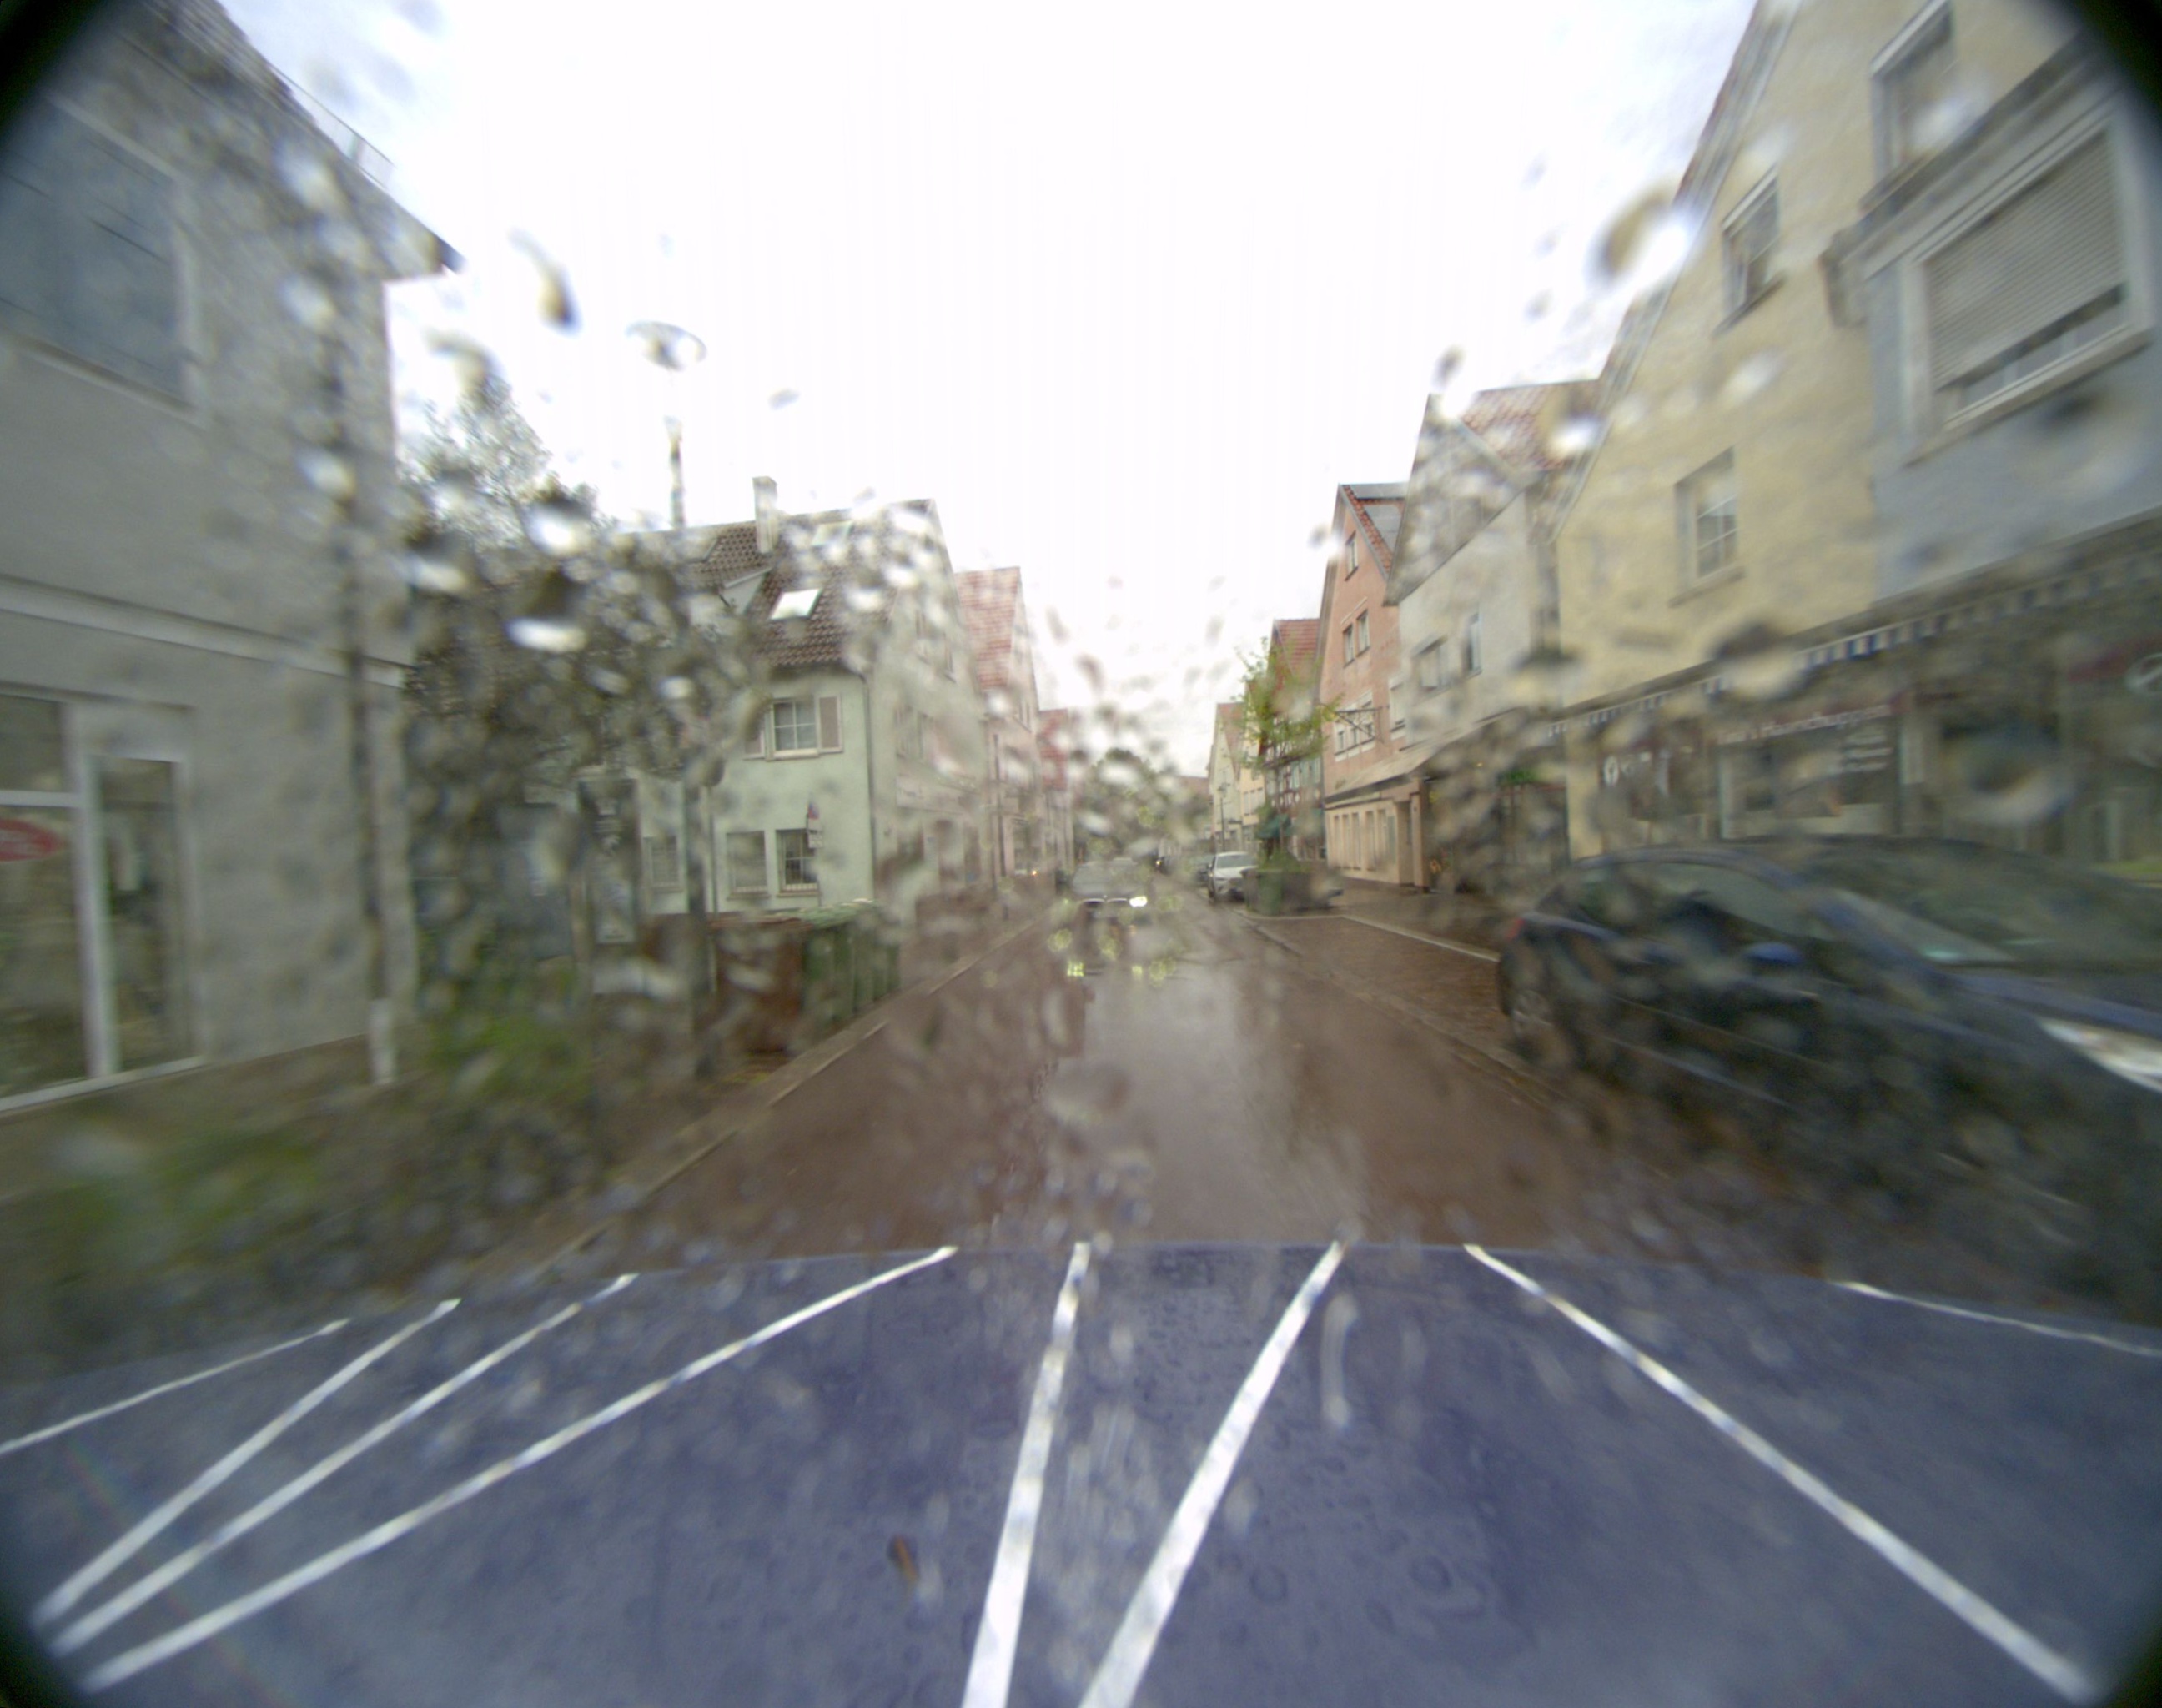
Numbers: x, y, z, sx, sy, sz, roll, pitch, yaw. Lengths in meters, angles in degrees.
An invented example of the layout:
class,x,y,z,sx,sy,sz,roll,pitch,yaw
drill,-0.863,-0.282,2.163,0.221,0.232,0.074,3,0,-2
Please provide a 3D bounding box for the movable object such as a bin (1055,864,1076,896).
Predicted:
class,x,y,z,sx,sy,sz,roll,pitch,yaw
movable object such as a bin,-0.611,1.010,30.000,0.720,1.194,0.578,-2,2,6

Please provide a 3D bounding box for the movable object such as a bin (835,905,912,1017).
class,x,y,z,sx,sy,sz,roll,pitch,yaw
movable object such as a bin,-2.465,1.256,9.066,0.659,1.231,0.621,-2,2,4

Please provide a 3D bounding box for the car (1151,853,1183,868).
class,x,y,z,sx,sy,sz,roll,pitch,yaw
car,9.663,0.725,84.836,1.995,1.445,4.007,-2,1,31

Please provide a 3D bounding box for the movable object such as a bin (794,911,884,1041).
class,x,y,z,sx,sy,sz,roll,pitch,yaw
movable object such as a bin,-2.509,1.254,7.924,0.679,1.249,0.543,-2,2,4

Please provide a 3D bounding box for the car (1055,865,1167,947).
class,x,y,z,sx,sy,sz,roll,pitch,yaw
car,0.531,0.989,16.435,1.999,1.398,4.893,-2,0,-1

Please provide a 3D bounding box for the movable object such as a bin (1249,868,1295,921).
class,x,y,z,sx,sy,sz,roll,pitch,yaw
movable object such as a bin,4.450,0.932,17.705,0.817,1.100,0.610,-6,2,0

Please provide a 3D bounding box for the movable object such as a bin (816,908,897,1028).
class,x,y,z,sx,sy,sz,roll,pitch,yaw
movable object such as a bin,-2.496,1.255,8.480,0.659,1.238,0.543,-2,2,4

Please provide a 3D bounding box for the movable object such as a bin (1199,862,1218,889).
class,x,y,z,sx,sy,sz,roll,pitch,yaw
movable object such as a bin,5.379,0.895,32.057,0.749,1.076,0.764,-2,2,7

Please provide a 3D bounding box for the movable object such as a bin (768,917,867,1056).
class,x,y,z,sx,sy,sz,roll,pitch,yaw
movable object such as a bin,-2.537,1.261,7.360,0.679,1.225,0.565,-2,2,4

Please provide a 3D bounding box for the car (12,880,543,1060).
class,x,y,z,sx,sy,sz,roll,pitch,yaw
car,-9.760,1.234,9.770,1.819,1.645,4.369,-1,0,45

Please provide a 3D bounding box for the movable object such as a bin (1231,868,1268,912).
class,x,y,z,sx,sy,sz,roll,pitch,yaw
movable object such as a bin,4.498,0.958,20.279,0.817,1.100,0.610,-2,2,0

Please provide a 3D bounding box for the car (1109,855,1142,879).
class,x,y,z,sx,sy,sz,roll,pitch,yaw
car,3.101,0.875,52.125,1.998,1.445,4.001,-2,1,6

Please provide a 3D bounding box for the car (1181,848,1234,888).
class,x,y,z,sx,sy,sz,roll,pitch,yaw
car,5.887,0.601,35.936,1.838,1.543,4.281,-6,1,3

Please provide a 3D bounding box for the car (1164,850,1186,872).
class,x,y,z,sx,sy,sz,roll,pitch,yaw
car,7.482,0.546,60.560,1.596,1.537,3.978,-2,1,6

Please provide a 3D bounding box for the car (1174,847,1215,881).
class,x,y,z,sx,sy,sz,roll,pitch,yaw
car,6.257,0.500,42.378,1.837,1.665,4.540,-2,1,4

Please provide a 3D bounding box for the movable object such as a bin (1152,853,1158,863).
class,x,y,z,sx,sy,sz,roll,pitch,yaw
movable object such as a bin,8.912,0.522,91.291,0.544,1.143,0.586,-1,2,31

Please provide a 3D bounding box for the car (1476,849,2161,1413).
class,x,y,z,sx,sy,sz,roll,pitch,yaw
car,3.934,0.766,3.526,1.999,1.463,3.999,-3,0,-1

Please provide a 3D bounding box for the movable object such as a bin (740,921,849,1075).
class,x,y,z,sx,sy,sz,roll,pitch,yaw
movable object such as a bin,-2.539,1.258,6.783,0.679,1.243,0.565,-2,2,4

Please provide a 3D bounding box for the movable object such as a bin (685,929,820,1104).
class,x,y,z,sx,sy,sz,roll,pitch,yaw
movable object such as a bin,-2.621,1.274,6.133,0.679,1.234,0.731,-2,2,4

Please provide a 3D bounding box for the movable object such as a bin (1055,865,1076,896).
class,x,y,z,sx,sy,sz,roll,pitch,yaw
movable object such as a bin,-0.627,1.059,30.730,0.720,1.194,0.573,-2,2,6

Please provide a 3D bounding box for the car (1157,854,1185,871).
class,x,y,z,sx,sy,sz,roll,pitch,yaw
car,7.795,0.744,66.046,1.806,1.424,4.628,-2,-1,0

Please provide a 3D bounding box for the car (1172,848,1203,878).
class,x,y,z,sx,sy,sz,roll,pitch,yaw
car,6.847,0.561,49.223,1.775,1.665,4.480,-4,1,6

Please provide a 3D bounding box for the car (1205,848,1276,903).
class,x,y,z,sx,sy,sz,roll,pitch,yaw
car,5.182,0.654,25.176,1.831,1.557,4.001,-2,1,5

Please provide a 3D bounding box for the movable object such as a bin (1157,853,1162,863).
class,x,y,z,sx,sy,sz,roll,pitch,yaw
movable object such as a bin,9.350,0.531,90.562,0.477,1.162,0.489,-1,2,31
